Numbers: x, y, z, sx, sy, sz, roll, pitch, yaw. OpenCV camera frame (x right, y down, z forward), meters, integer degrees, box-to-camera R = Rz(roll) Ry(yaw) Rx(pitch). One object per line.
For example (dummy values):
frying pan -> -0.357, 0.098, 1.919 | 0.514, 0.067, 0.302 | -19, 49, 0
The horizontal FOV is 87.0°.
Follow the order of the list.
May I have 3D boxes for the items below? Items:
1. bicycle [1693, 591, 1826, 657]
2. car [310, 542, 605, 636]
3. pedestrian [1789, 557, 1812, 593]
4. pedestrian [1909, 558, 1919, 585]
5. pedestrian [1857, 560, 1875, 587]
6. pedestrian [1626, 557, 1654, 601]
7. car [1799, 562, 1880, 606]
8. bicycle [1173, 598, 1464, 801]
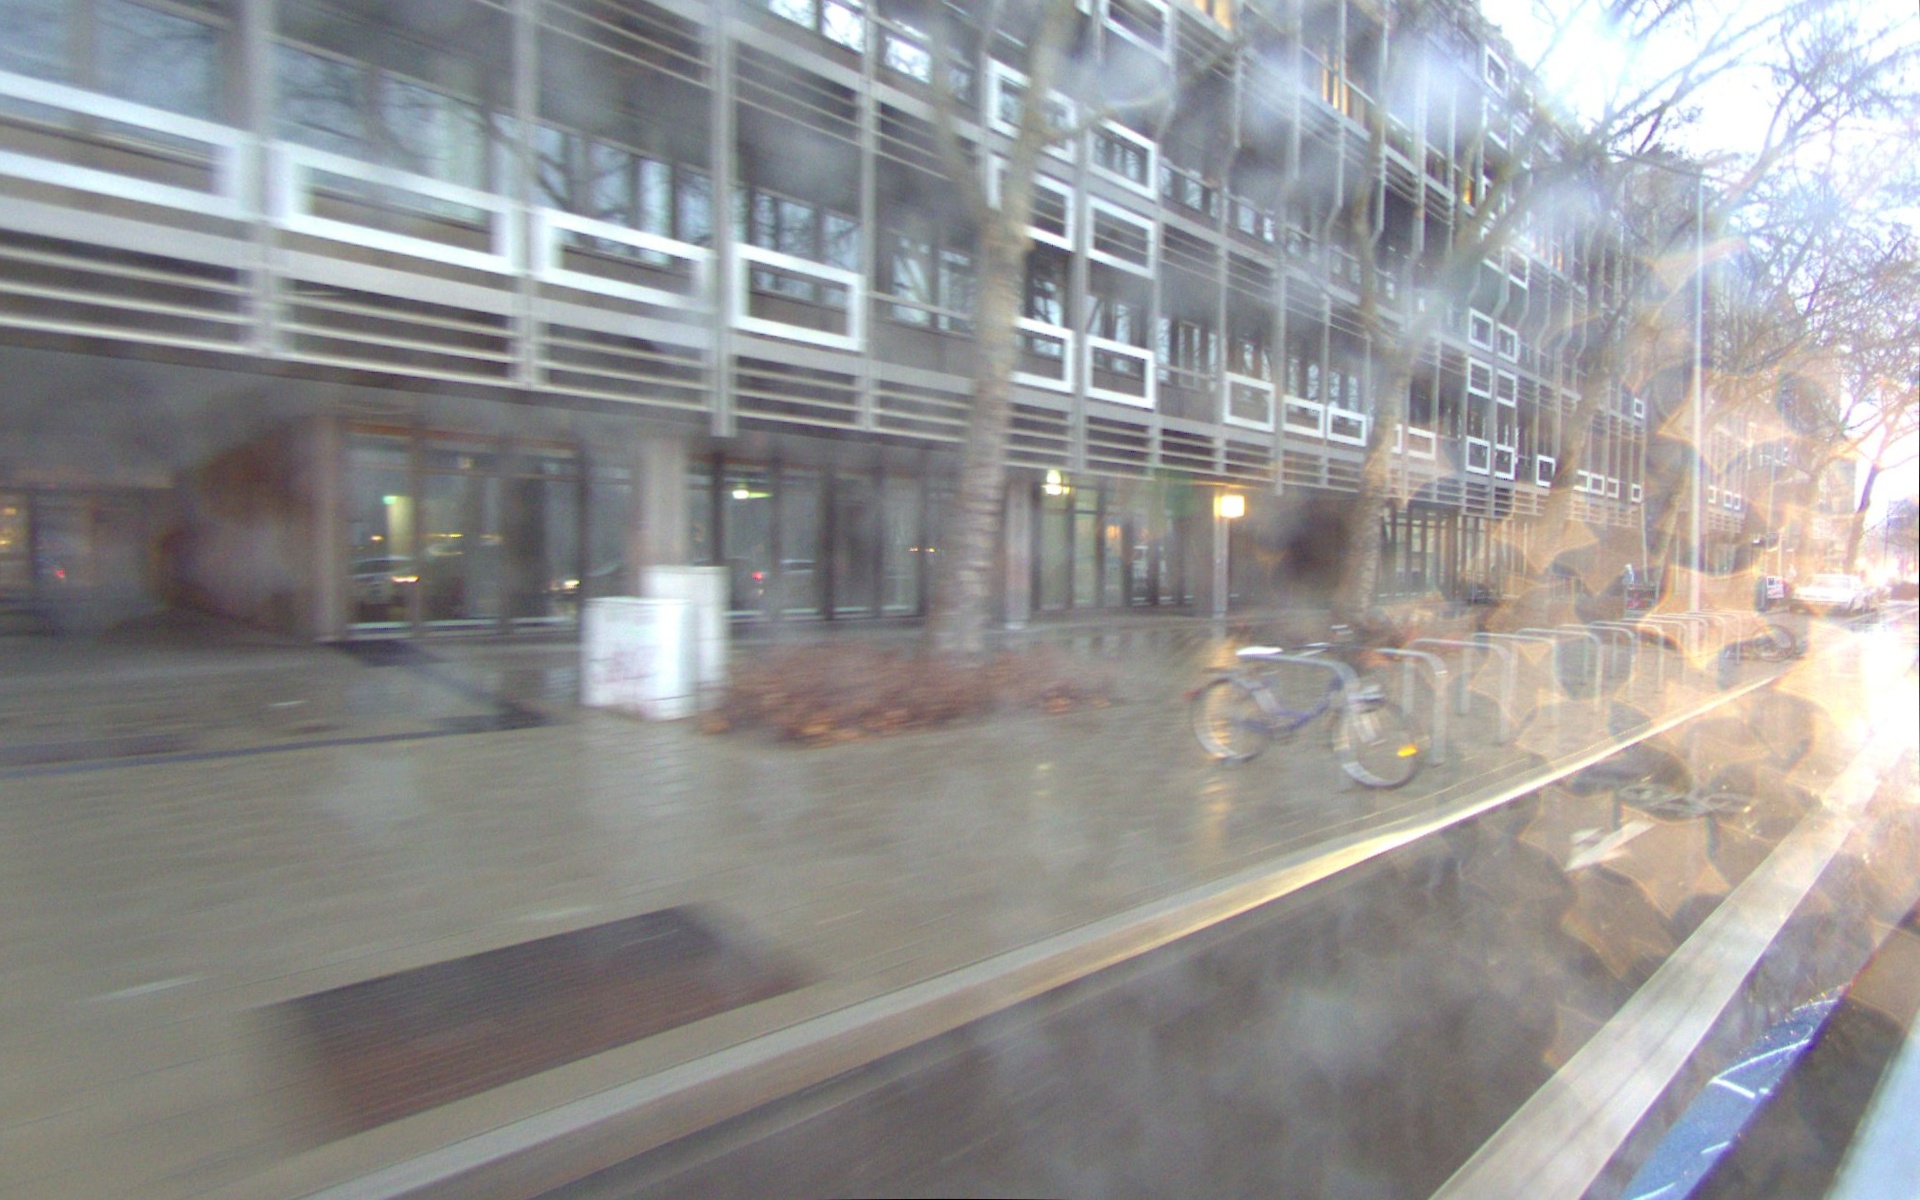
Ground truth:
bicycle -> 14.177, 0.390, 17.979 | 0.864, 1.004, 1.703 | -2, 5, -41
car -> -8.045, -0.250, 16.350 | 3.930, 1.326, 1.998 | -2, 4, -40
pedestrian -> 41.603, -1.252, 50.078 | 0.765, 1.771, 0.914 | 2, 3, 44
pedestrian -> 62.304, -1.862, 65.815 | 0.765, 1.771, 0.914 | 2, 3, 44
pedestrian -> 58.472, -1.722, 65.322 | 0.765, 1.771, 0.914 | 2, 3, 44
pedestrian -> 28.041, -0.882, 41.720 | 0.765, 1.771, 0.914 | 2, 3, 44
car -> 31.576, -0.594, 36.311 | 3.931, 1.482, 1.711 | -2, 2, -41
bicycle -> 2.456, 0.616, 7.135 | 0.629, 1.145, 1.810 | 1, 3, -41
